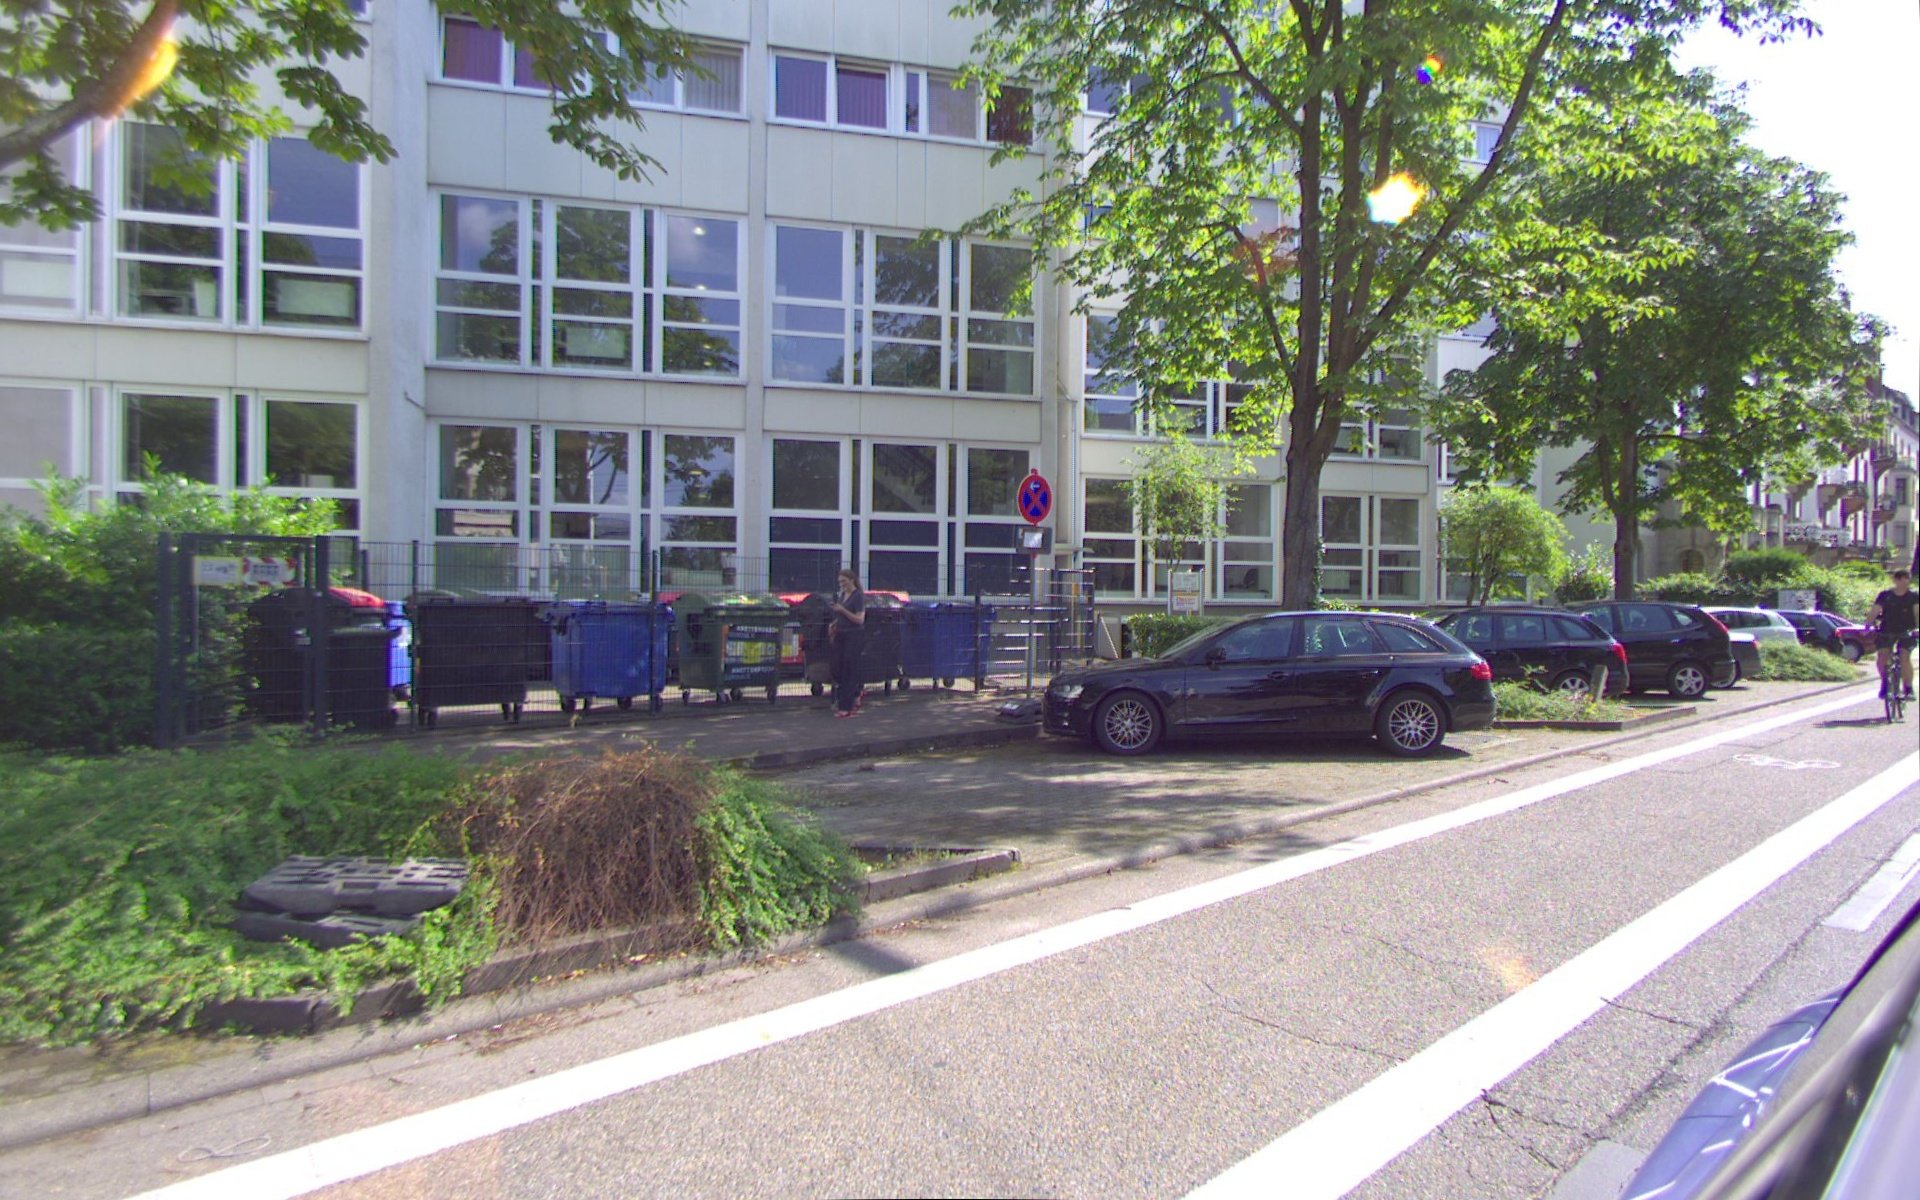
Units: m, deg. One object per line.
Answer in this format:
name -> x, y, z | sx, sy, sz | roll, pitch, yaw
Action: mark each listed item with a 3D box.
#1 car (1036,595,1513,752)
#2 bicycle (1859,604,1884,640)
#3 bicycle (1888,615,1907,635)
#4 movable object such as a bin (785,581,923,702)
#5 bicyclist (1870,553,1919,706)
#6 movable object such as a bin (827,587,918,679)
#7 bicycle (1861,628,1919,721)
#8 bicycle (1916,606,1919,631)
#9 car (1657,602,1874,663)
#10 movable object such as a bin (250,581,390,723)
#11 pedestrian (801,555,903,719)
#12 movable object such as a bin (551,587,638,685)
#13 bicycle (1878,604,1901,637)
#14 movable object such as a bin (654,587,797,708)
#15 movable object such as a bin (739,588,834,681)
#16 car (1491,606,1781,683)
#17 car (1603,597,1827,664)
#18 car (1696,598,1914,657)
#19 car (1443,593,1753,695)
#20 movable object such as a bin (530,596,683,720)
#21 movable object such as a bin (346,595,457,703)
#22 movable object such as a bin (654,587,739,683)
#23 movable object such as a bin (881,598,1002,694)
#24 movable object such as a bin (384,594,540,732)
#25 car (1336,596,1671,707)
car -> 3.069, 0.731, 10.795 | 4.456, 1.460, 2.028 | -1, -1, 5
bicycle -> 30.129, 0.728, 33.429 | 1.975, 1.122, 0.280 | 0, 4, -40
bicycle -> 34.185, 0.908, 36.892 | 1.531, 0.685, 0.280 | 0, 4, -40
movable object such as a bin -> -1.465, 0.526, 13.993 | 1.443, 1.558, 1.277 | 0, 0, -40
bicyclist -> 12.697, 0.379, 13.530 | 1.110, 1.973, 0.608 | 0, -1, -40
movable object such as a bin -> -1.524, 0.543, 17.349 | 1.237, 1.465, 1.383 | 1, 2, -18
bicycle -> 12.656, 0.959, 13.517 | 1.804, 1.057, 0.617 | -1, 5, -40
bicycle -> 39.467, 0.748, 41.163 | 1.839, 1.001, 0.613 | 0, 3, -41
car -> 20.195, 0.784, 25.516 | 3.933, 1.467, 1.695 | 0, 0, 8
movable object such as a bin -> -7.147, 0.565, 11.385 | 0.918, 1.500, 1.270 | 1, -1, -12
pedestrian -> -1.316, 0.427, 12.323 | 0.983, 1.897, 0.763 | 0, 0, -34
movable object such as a bin -> -5.859, 0.549, 16.304 | 1.237, 1.465, 1.383 | 1, 2, -18
bicycle -> 32.758, 0.706, 35.674 | 1.975, 1.122, 0.280 | 0, 4, -40
movable object such as a bin -> -3.040, 0.603, 13.119 | 1.274, 1.456, 1.331 | -3, -3, 43
movable object such as a bin -> -2.912, 0.551, 16.881 | 1.422, 1.474, 1.212 | -1, 0, -16
car -> 12.603, 0.818, 19.122 | 4.102, 1.366, 1.902 | -1, -1, 6
car -> 17.480, 0.676, 23.580 | 3.929, 1.479, 1.533 | 0, 0, 5
car -> 22.716, 0.706, 27.357 | 4.090, 1.441, 1.863 | 1, 1, 8
car -> 10.559, 0.708, 17.065 | 3.934, 1.595, 1.900 | -1, -1, 9
movable object such as a bin -> -4.215, 0.649, 12.054 | 1.335, 1.353, 1.277 | 0, -1, -41
movable object such as a bin -> -7.685, 0.644, 14.003 | 1.237, 1.355, 1.216 | 1, 2, -24
movable object such as a bin -> -4.358, 0.550, 16.636 | 1.237, 1.465, 1.383 | 1, 2, -18
movable object such as a bin -> -0.286, 0.650, 15.159 | 1.302, 1.335, 1.277 | 0, 0, -40
movable object such as a bin -> -5.353, 0.630, 10.866 | 1.215, 1.353, 1.277 | 0, -1, -41
car -> 7.912, 0.726, 15.069 | 4.005, 1.462, 1.722 | 1, -2, 7
